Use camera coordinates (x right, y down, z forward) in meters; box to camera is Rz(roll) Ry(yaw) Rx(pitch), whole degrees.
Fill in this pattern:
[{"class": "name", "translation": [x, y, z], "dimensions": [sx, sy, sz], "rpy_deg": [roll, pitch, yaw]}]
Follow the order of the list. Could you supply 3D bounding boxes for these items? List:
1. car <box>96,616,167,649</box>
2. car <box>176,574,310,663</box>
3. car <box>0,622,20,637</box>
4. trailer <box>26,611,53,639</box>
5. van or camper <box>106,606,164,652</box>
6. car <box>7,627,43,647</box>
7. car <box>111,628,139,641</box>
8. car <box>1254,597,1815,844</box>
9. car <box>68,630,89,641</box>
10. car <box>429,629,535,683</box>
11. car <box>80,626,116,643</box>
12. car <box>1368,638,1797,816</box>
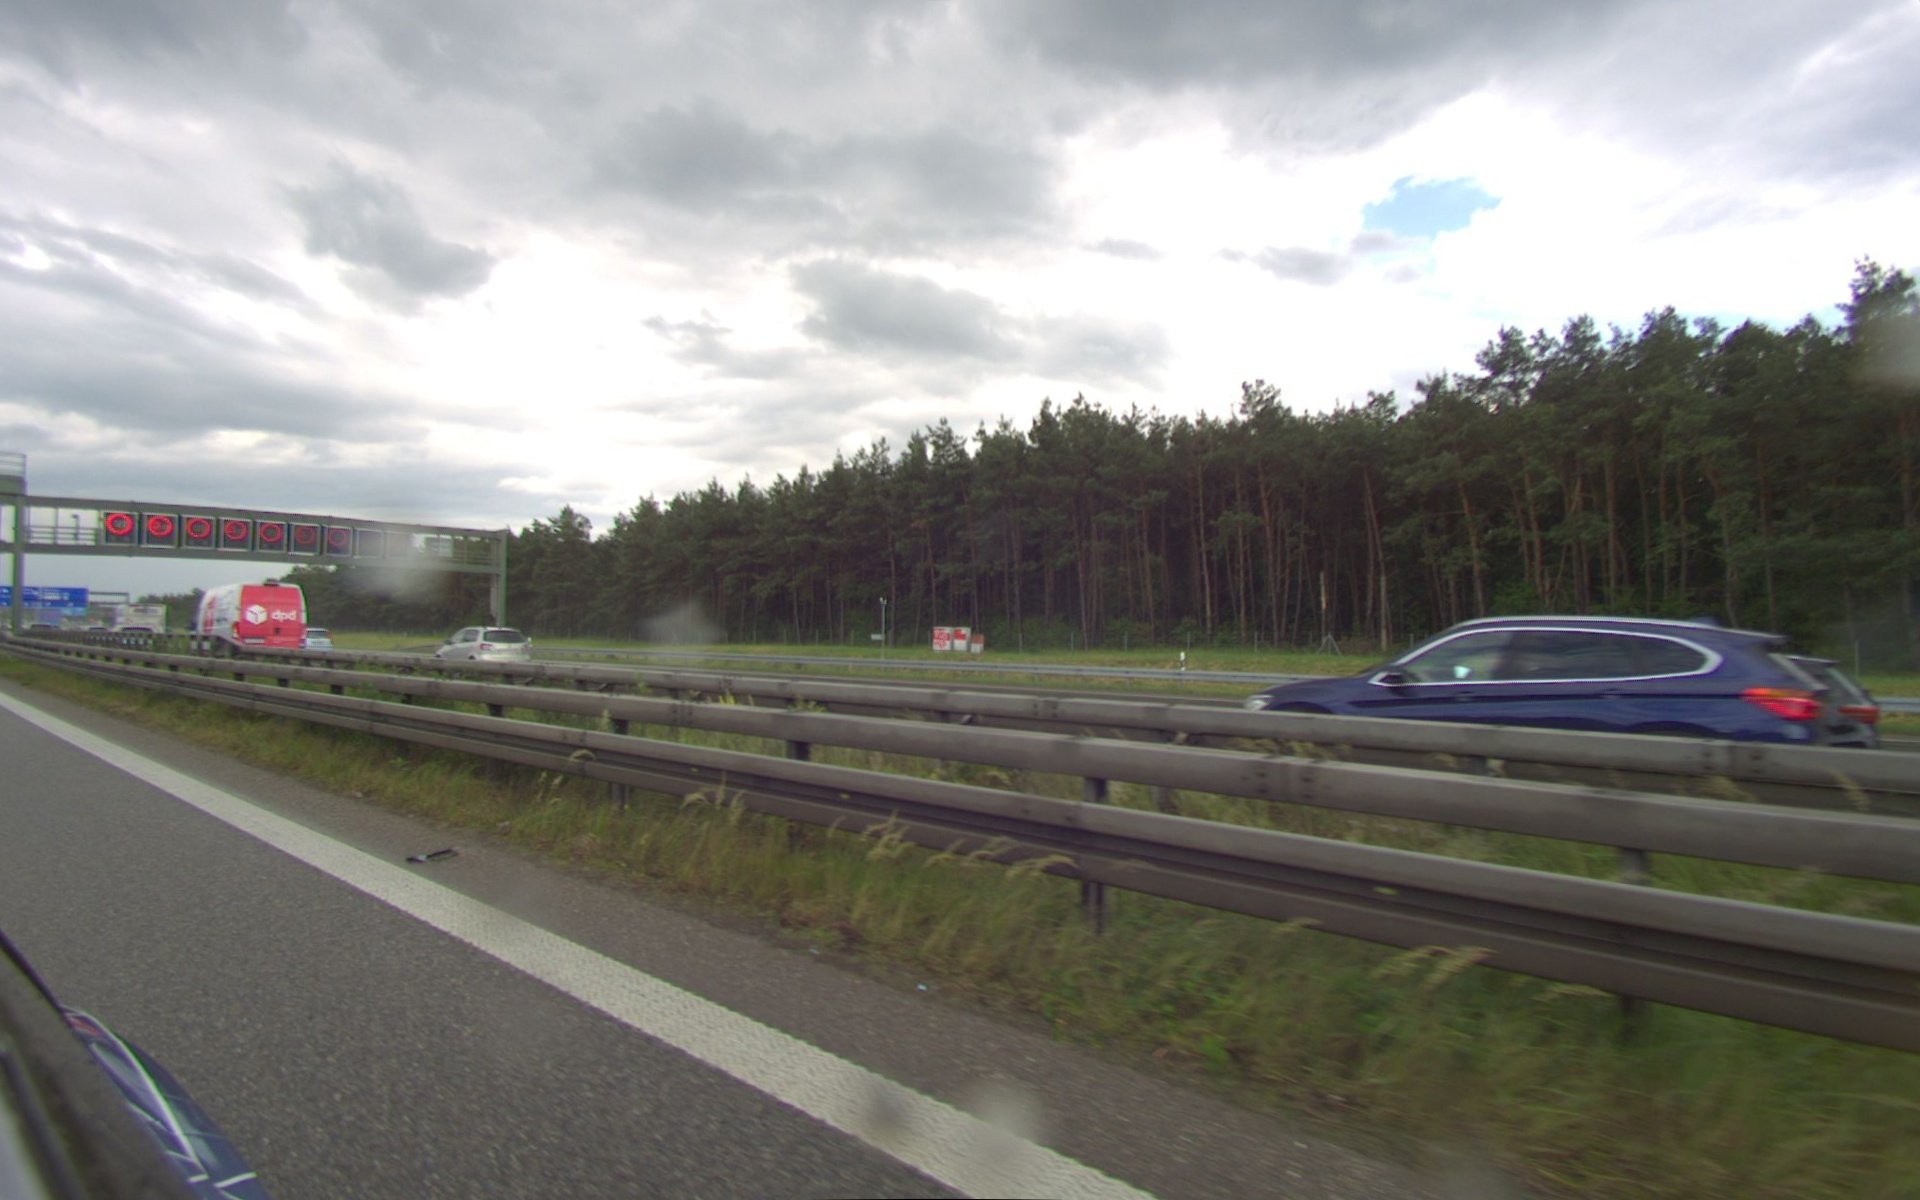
[{"class": "car", "translation": [-40.271, 1.574, 49.147], "dimensions": [5.318, 1.542, 1.848], "rpy_deg": [-2, -2, 42]}, {"class": "car", "translation": [-24.024, 0.650, 33.769], "dimensions": [6.670, 2.682, 2.110], "rpy_deg": [-1, -2, 41]}, {"class": "car", "translation": [-140.374, 4.352, 149.257], "dimensions": [6.741, 2.029, 2.258], "rpy_deg": [-2, 0, 45]}, {"class": "trailer", "translation": [-148.686, 4.042, 163.386], "dimensions": [14.627, 4.273, 2.075], "rpy_deg": [-1, 0, 44]}, {"class": "van or camper", "translation": [-59.186, 2.088, 72.547], "dimensions": [7.544, 3.136, 2.275], "rpy_deg": [-2, -3, 44]}, {"class": "car", "translation": [-72.791, 2.837, 78.784], "dimensions": [3.998, 1.526, 1.676], "rpy_deg": [-2, -2, 41]}, {"class": "car", "translation": [-82.402, 3.378, 99.869], "dimensions": [3.840, 1.267, 1.608], "rpy_deg": [-2, -2, 42]}, {"class": "car", "translation": [4.549, 0.826, 8.320], "dimensions": [3.721, 1.554, 1.771], "rpy_deg": [-1, -3, 42]}, {"class": "car", "translation": [-119.121, 4.762, 136.733], "dimensions": [4.561, 1.471, 1.654], "rpy_deg": [-1, -2, 42]}, {"class": "car", "translation": [-15.258, 1.738, 32.209], "dimensions": [3.954, 1.591, 1.733], "rpy_deg": [-2, -2, 43]}, {"class": "car", "translation": [-71.661, 2.894, 84.149], "dimensions": [3.998, 1.386, 1.725], "rpy_deg": [-2, -2, 42]}, {"class": "car", "translation": [6.809, 1.247, 11.286], "dimensions": [3.845, 1.591, 1.734], "rpy_deg": [-1, -2, 41]}]
